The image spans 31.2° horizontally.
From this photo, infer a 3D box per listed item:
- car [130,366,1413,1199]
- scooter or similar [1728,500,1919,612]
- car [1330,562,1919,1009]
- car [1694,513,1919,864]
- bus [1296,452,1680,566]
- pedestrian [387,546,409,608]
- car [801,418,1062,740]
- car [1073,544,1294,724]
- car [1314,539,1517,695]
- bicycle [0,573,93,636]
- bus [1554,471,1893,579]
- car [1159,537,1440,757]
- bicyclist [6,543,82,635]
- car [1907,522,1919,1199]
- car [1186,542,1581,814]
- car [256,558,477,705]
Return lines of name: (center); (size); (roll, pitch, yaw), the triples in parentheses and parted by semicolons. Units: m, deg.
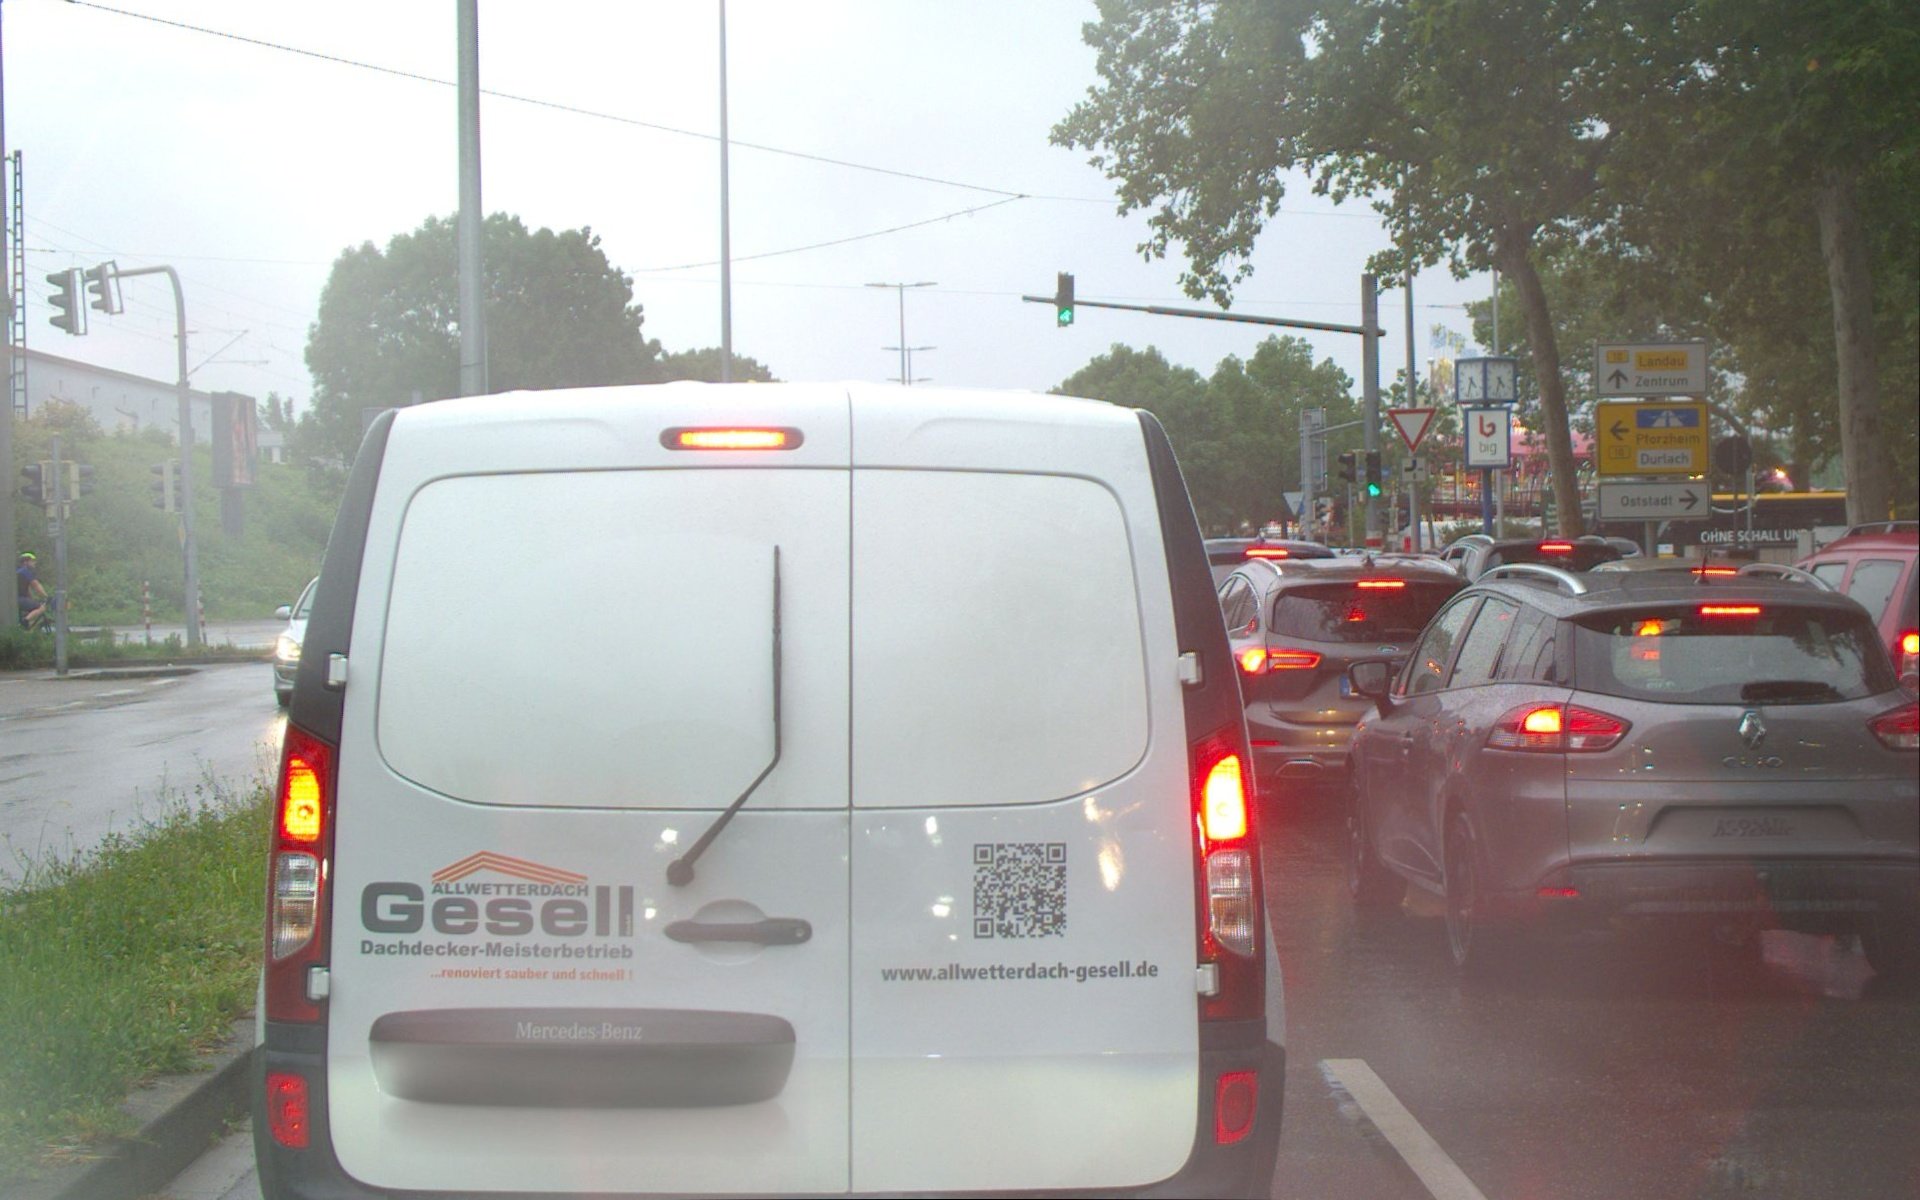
car: (-0.315, 0.476, 7.655); (1.993, 1.770, 4.585); (0, 1, -1)
scooter or similar: (19.988, -0.990, 77.065); (1.890, 2.437, 5.316); (-1, 1, -41)
car: (2.517, 0.588, 13.134); (1.683, 1.403, 3.843); (1, 1, -1)
car: (5.338, 0.427, 18.702); (1.710, 1.688, 4.272); (1, 0, -1)
bus: (16.961, -2.923, 110.879); (11.970, 3.411, 2.315); (-1, 1, 0)
pedestrian: (-15.704, -0.645, 96.108); (0.543, 1.710, 0.563); (1, 0, -4)
car: (-0.222, -0.189, 26.421); (1.854, 2.288, 3.843); (0, 1, -1)
car: (2.117, 0.292, 33.527); (1.854, 1.644, 3.843); (0, 1, -1)
car: (5.057, 0.162, 38.585); (1.708, 1.644, 3.843); (0, 1, -1)
bicycle: (-14.822, 0.058, 55.575); (1.040, 0.949, 2.889); (-2, 2, -25)
bus: (26.024, -2.595, 116.989); (11.968, 3.411, 2.484); (-2, 2, -23)
car: (2.674, 0.319, 27.864); (1.854, 1.644, 3.843); (0, 1, -1)
bicyclist: (-14.804, -0.189, 55.549); (1.040, 1.445, 0.729); (-2, 2, -25)
car: (2.978, 0.643, 5.413); (1.747, 1.549, 4.091); (0, 1, -1)
car: (2.433, 0.393, 20.636); (1.854, 1.455, 3.843); (0, 1, -1)
car: (-6.622, 0.312, 38.715); (1.816, 1.457, 4.000); (-3, 1, -1)
